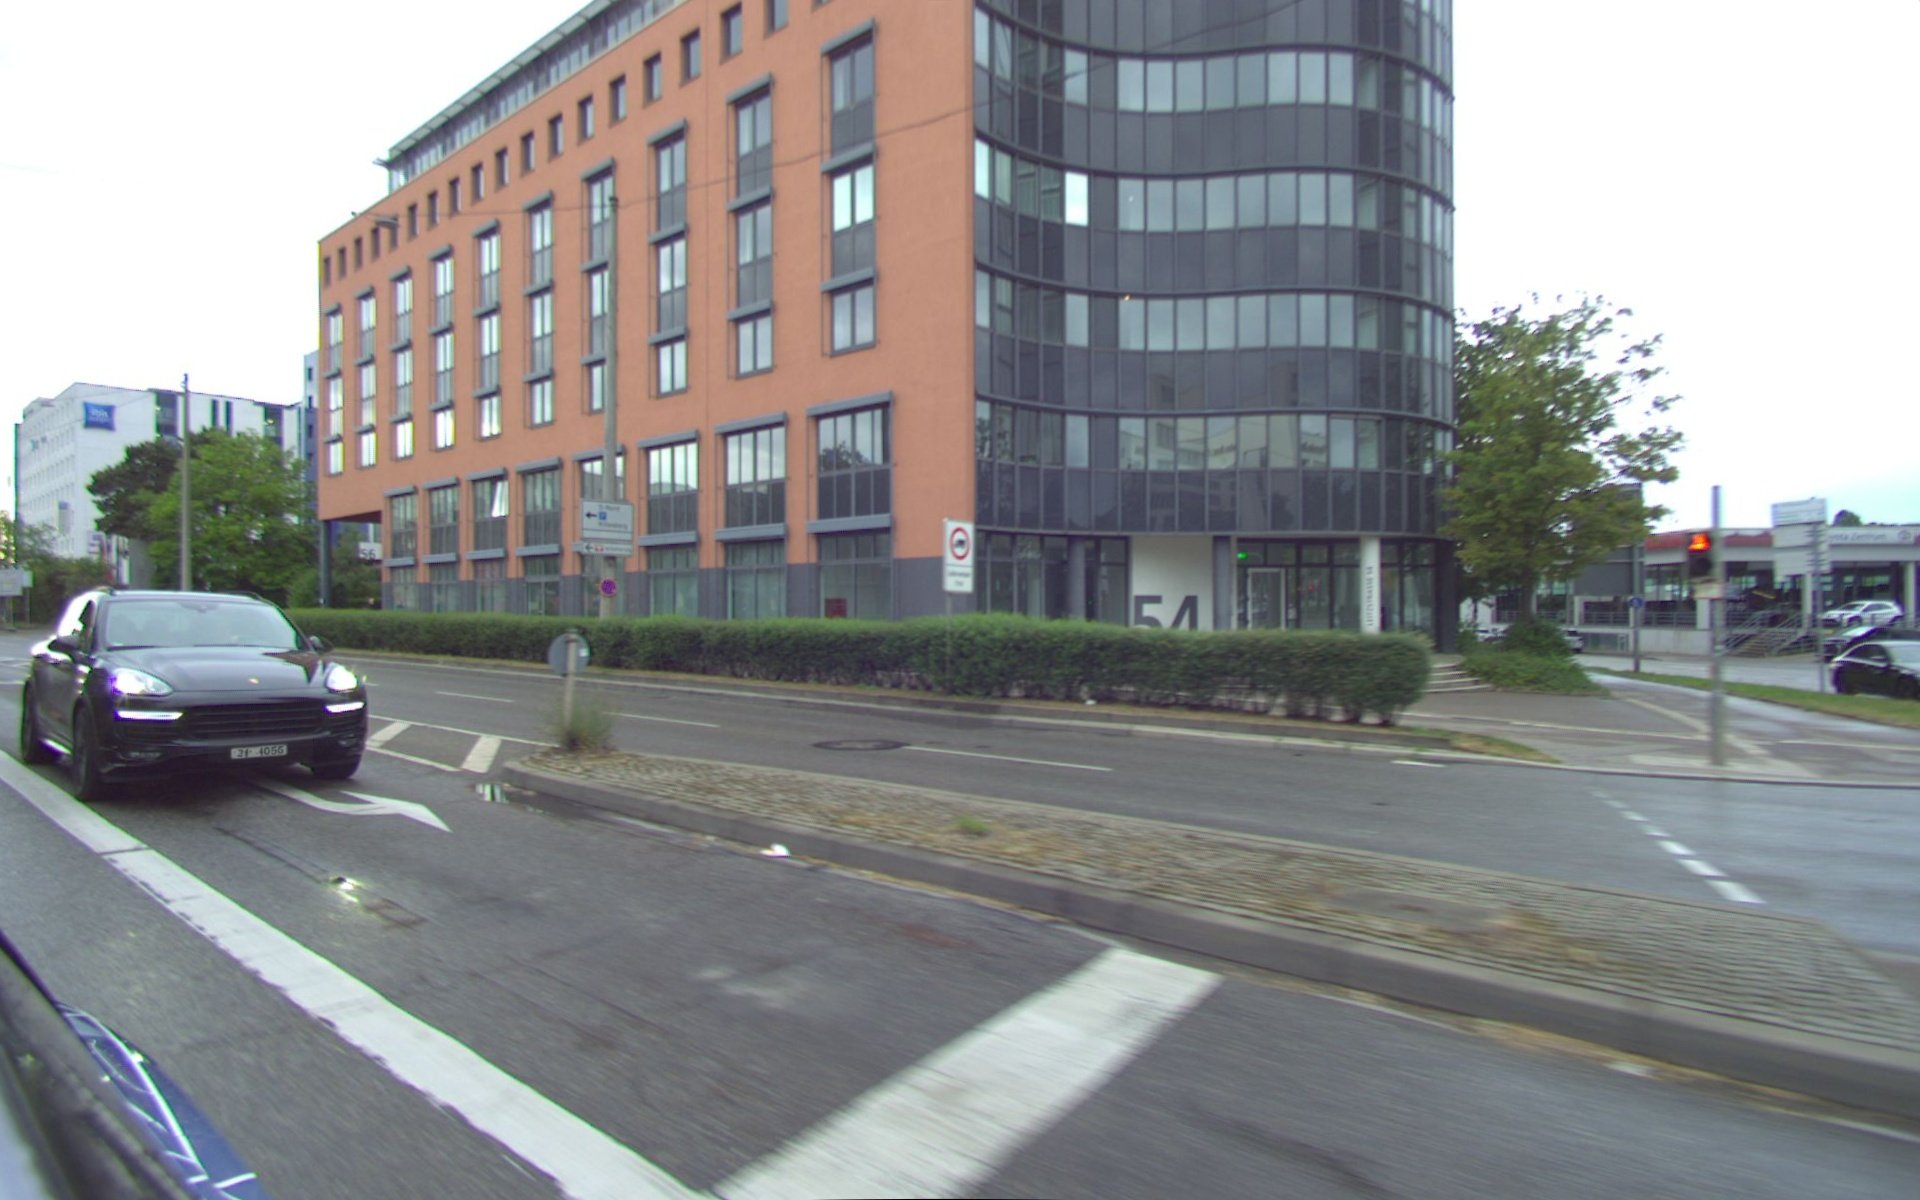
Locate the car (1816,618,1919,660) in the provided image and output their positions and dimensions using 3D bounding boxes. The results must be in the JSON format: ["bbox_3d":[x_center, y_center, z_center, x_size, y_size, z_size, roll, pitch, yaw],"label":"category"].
[{"bbox_3d":[42.601,1.775,46.343,4.944,1.829,1.793,1,-2,8],"label":"car"}]

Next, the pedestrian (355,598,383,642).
[{"bbox_3d":[-25.486,0.837,43.651,0.885,1.855,0.738,-1,1,39],"label":"pedestrian"}]

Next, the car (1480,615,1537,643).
[{"bbox_3d":[37.859,1.992,69.964,1.974,1.918,3.995,0,-1,4],"label":"car"}]

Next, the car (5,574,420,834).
[{"bbox_3d":[-6.951,0.688,9.108,5.423,1.679,1.972,0,-1,42],"label":"car"}]

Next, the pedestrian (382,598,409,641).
[{"bbox_3d":[-24.641,0.830,44.161,0.885,1.855,0.738,-1,1,39],"label":"pedestrian"}]

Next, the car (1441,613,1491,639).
[{"bbox_3d":[37.957,1.953,76.020,1.974,1.918,3.995,0,-1,4],"label":"car"}]

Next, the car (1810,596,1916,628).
[{"bbox_3d":[47.472,0.638,53.259,3.767,1.662,1.815,0,-1,4],"label":"car"}]

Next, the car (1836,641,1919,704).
[{"bbox_3d":[22.255,1.634,23.236,1.838,1.373,3.974,0,-2,19],"label":"car"}]
